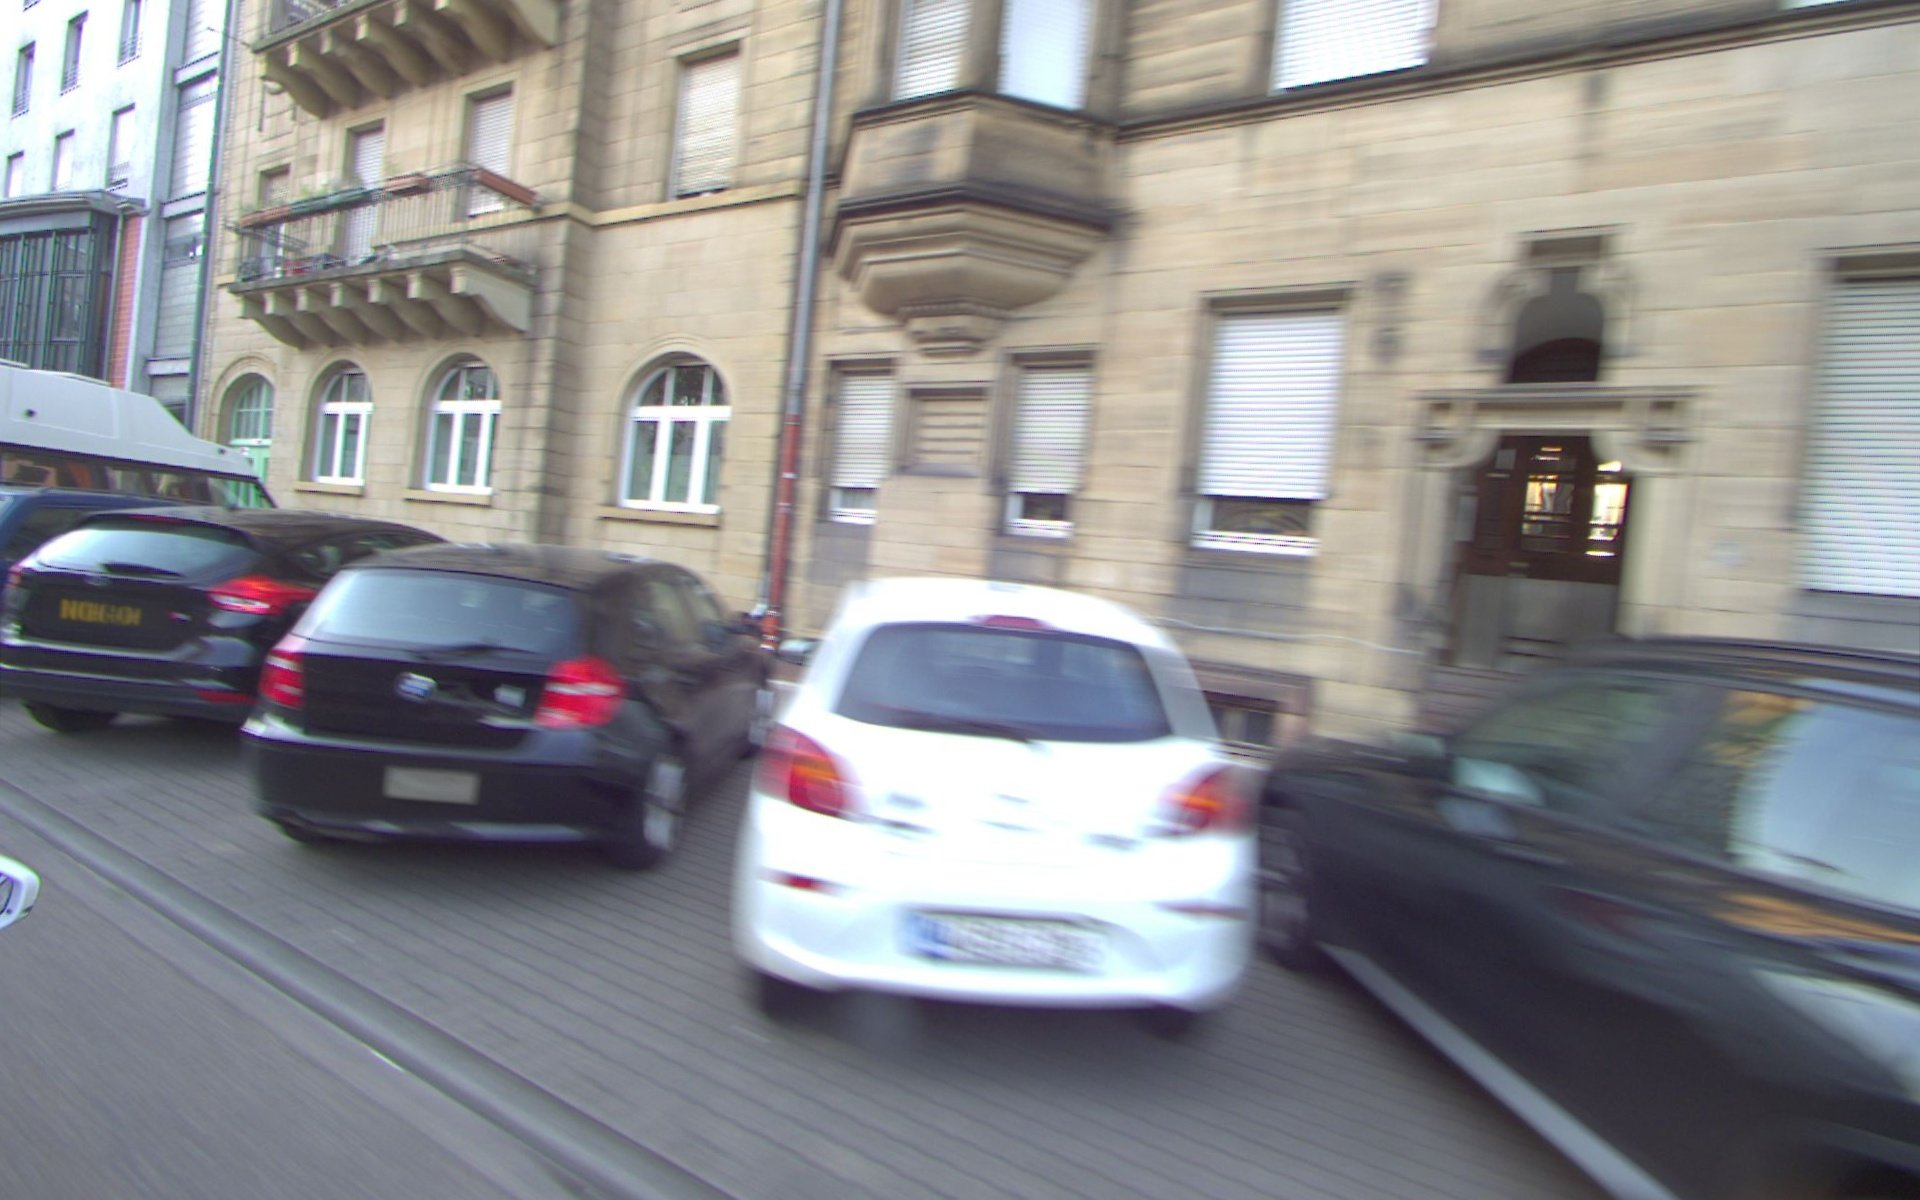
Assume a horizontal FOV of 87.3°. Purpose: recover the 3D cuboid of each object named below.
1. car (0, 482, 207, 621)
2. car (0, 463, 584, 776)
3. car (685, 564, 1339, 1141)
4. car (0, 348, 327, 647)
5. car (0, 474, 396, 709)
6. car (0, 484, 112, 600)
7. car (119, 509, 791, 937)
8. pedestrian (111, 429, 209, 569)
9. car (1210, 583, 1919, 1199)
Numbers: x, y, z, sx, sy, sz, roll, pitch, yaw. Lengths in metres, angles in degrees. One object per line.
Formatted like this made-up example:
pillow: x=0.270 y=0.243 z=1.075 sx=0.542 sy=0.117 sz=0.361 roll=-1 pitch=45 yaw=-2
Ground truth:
car: x=-11.411 y=-0.629 z=11.581 sx=1.877 sy=1.521 sz=4.358 roll=7 pitch=0 yaw=4
car: x=-4.581 y=0.081 z=7.391 sx=1.761 sy=1.566 sz=4.121 roll=4 pitch=1 yaw=4
car: x=0.049 y=0.673 z=4.856 sx=1.722 sy=1.518 sz=4.052 roll=5 pitch=2 yaw=-3
car: x=-9.173 y=-0.944 z=10.394 sx=1.882 sy=2.578 sz=4.727 roll=6 pitch=0 yaw=3
car: x=-7.018 y=-0.194 z=8.525 sx=1.809 sy=1.506 sz=4.394 roll=6 pitch=2 yaw=2
car: x=-13.417 y=-0.862 z=12.766 sx=1.691 sy=1.510 sz=4.070 roll=7 pitch=0 yaw=1
car: x=-2.219 y=0.401 z=5.754 sx=1.834 sy=1.451 sz=4.029 roll=5 pitch=2 yaw=-2
pedestrian: x=-12.514 y=-1.580 z=15.745 sx=0.844 sy=2.032 sz=0.609 roll=8 pitch=-5 yaw=34
car: x=2.327 y=0.886 z=2.762 sx=1.784 sy=1.629 sz=4.092 roll=5 pitch=2 yaw=-6
